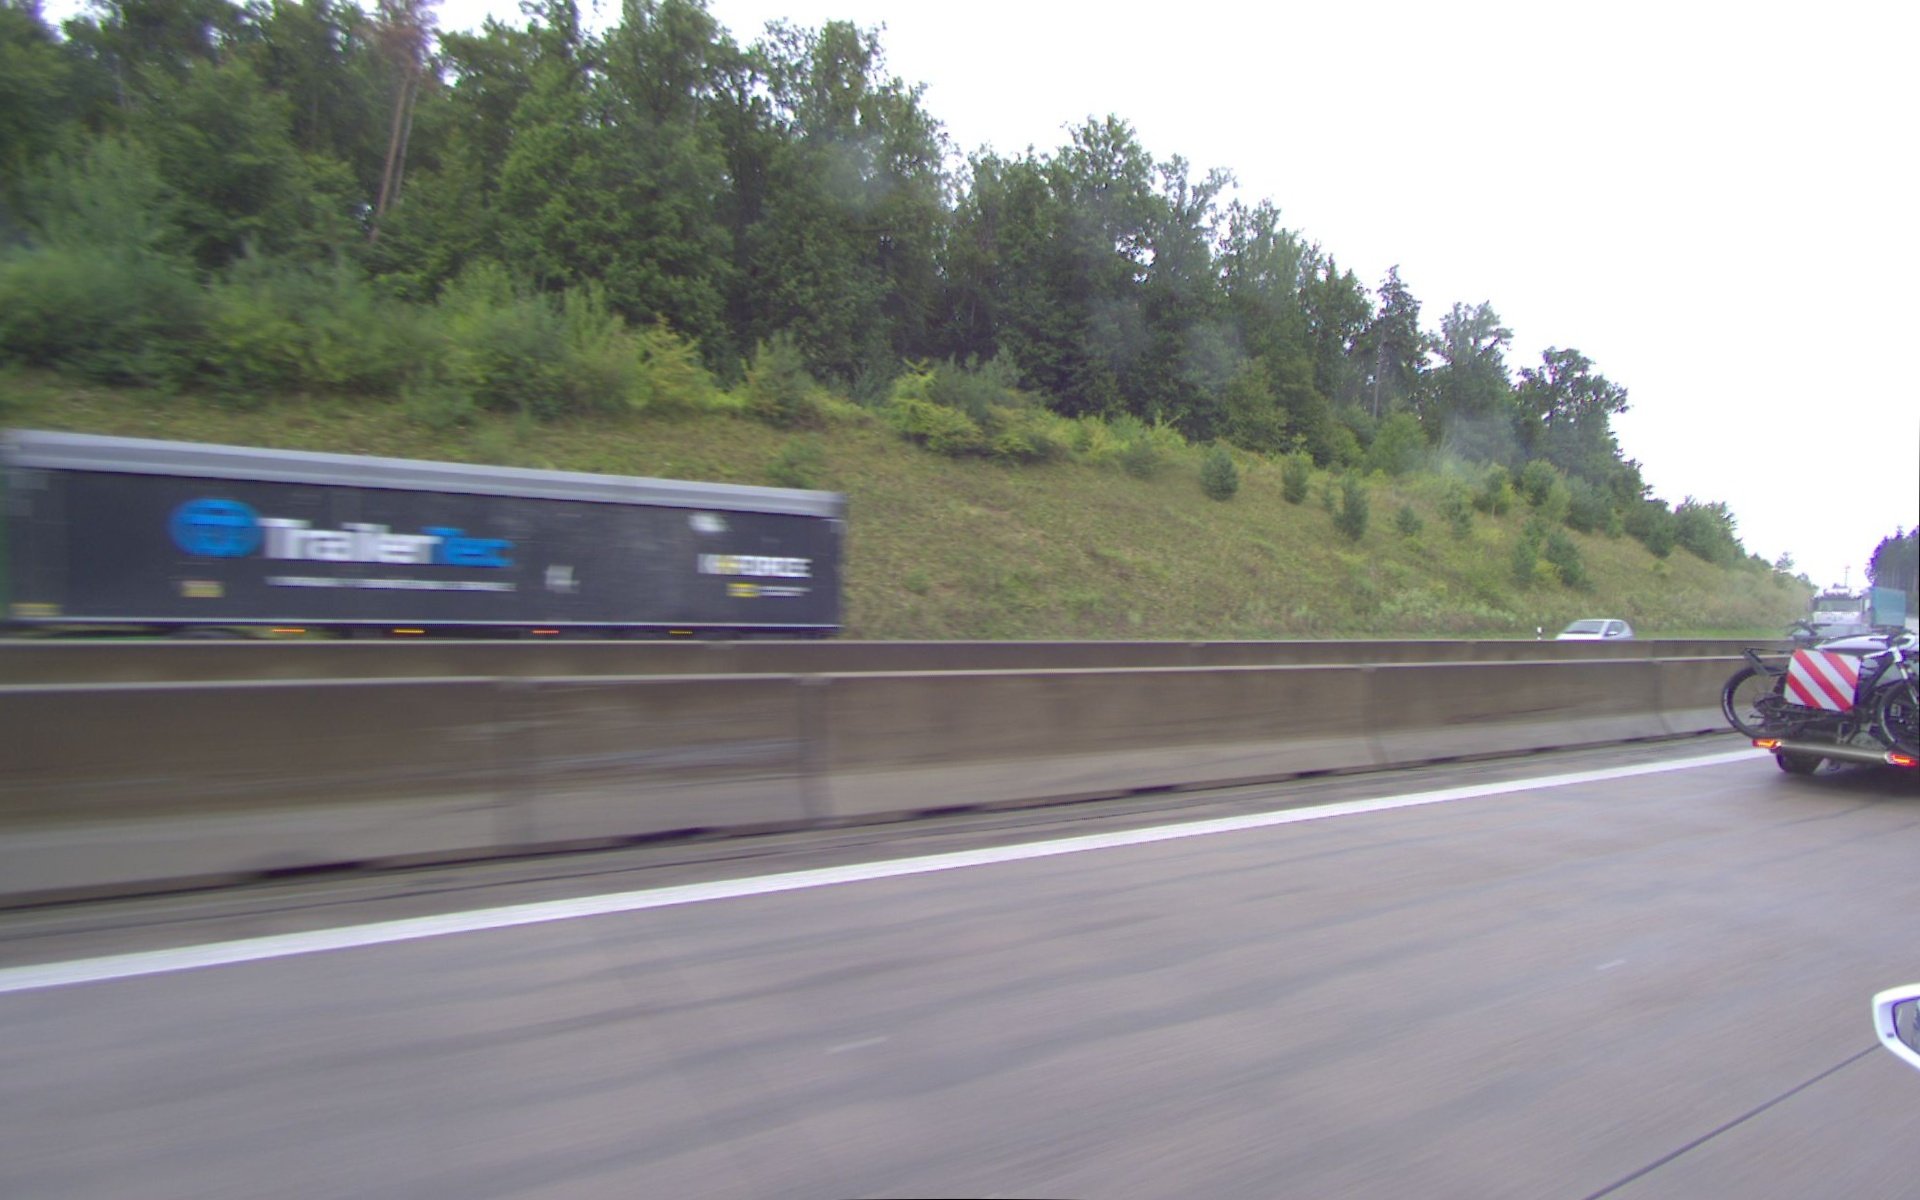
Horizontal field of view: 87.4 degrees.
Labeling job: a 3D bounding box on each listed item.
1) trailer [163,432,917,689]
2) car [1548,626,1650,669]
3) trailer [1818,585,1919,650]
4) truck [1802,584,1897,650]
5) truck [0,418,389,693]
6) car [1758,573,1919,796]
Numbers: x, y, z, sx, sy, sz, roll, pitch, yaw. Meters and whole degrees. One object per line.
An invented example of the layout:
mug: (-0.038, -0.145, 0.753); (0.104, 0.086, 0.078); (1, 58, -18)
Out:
trailer: (-7.424, -0.463, 20.379); (13.310, 4.013, 2.912); (1, -1, -31)
car: (24.288, 1.771, 38.151); (3.955, 1.513, 1.722); (1, -1, -32)
trailer: (59.360, 1.150, 65.309); (10.928, 3.941, 2.887); (1, 0, -36)
truck: (55.432, 1.069, 62.530); (7.293, 3.941, 2.887); (1, 0, -36)
truck: (-13.980, -0.625, 16.392); (8.025, 4.013, 2.912); (1, -1, -31)
car: (10.876, 0.803, 10.803); (6.099, 1.971, 1.895); (1, -1, -35)
